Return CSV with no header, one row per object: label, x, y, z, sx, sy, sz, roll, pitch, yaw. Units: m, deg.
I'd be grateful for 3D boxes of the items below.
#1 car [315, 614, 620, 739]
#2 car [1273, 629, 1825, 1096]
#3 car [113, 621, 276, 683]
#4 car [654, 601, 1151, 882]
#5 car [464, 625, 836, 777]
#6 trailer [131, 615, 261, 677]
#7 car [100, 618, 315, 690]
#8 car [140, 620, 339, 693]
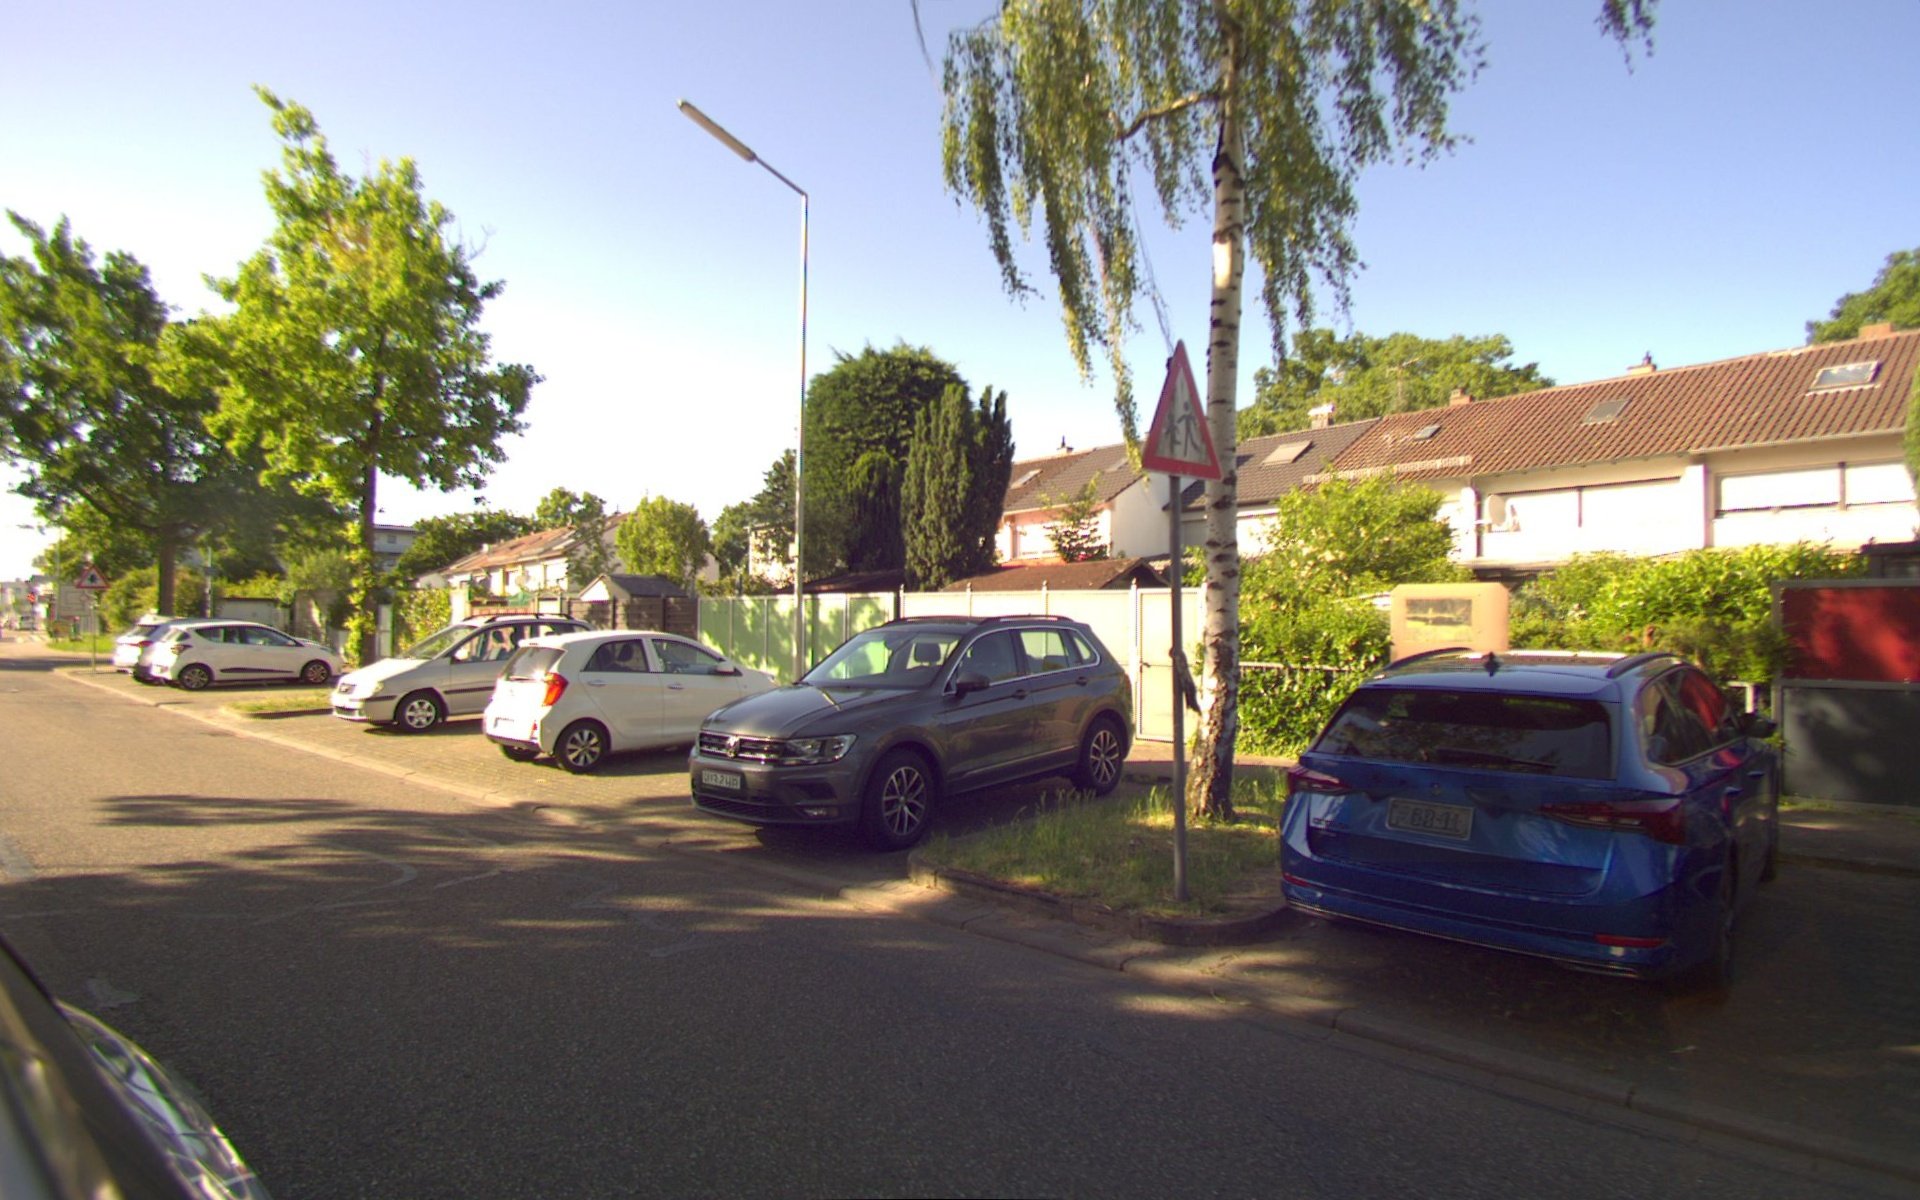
car,-7.498,1.067,15.672,1.706,1.626,3.896,-2,-1,42
car,3.439,0.914,5.453,1.723,1.435,4.225,-1,-1,42
car,-20.531,1.350,27.212,1.616,1.489,3.259,0,0,42
car,-0.231,0.890,8.429,1.759,1.737,4.167,-1,-1,40
car,-3.599,1.080,12.289,1.795,1.526,3.958,-1,-2,42
trailer,-22.079,1.290,29.292,1.297,1.659,2.733,1,0,37
car,-18.729,1.276,25.346,1.917,1.586,3.919,0,0,34
car,-16.745,1.255,23.634,1.706,1.507,3.479,0,0,39
